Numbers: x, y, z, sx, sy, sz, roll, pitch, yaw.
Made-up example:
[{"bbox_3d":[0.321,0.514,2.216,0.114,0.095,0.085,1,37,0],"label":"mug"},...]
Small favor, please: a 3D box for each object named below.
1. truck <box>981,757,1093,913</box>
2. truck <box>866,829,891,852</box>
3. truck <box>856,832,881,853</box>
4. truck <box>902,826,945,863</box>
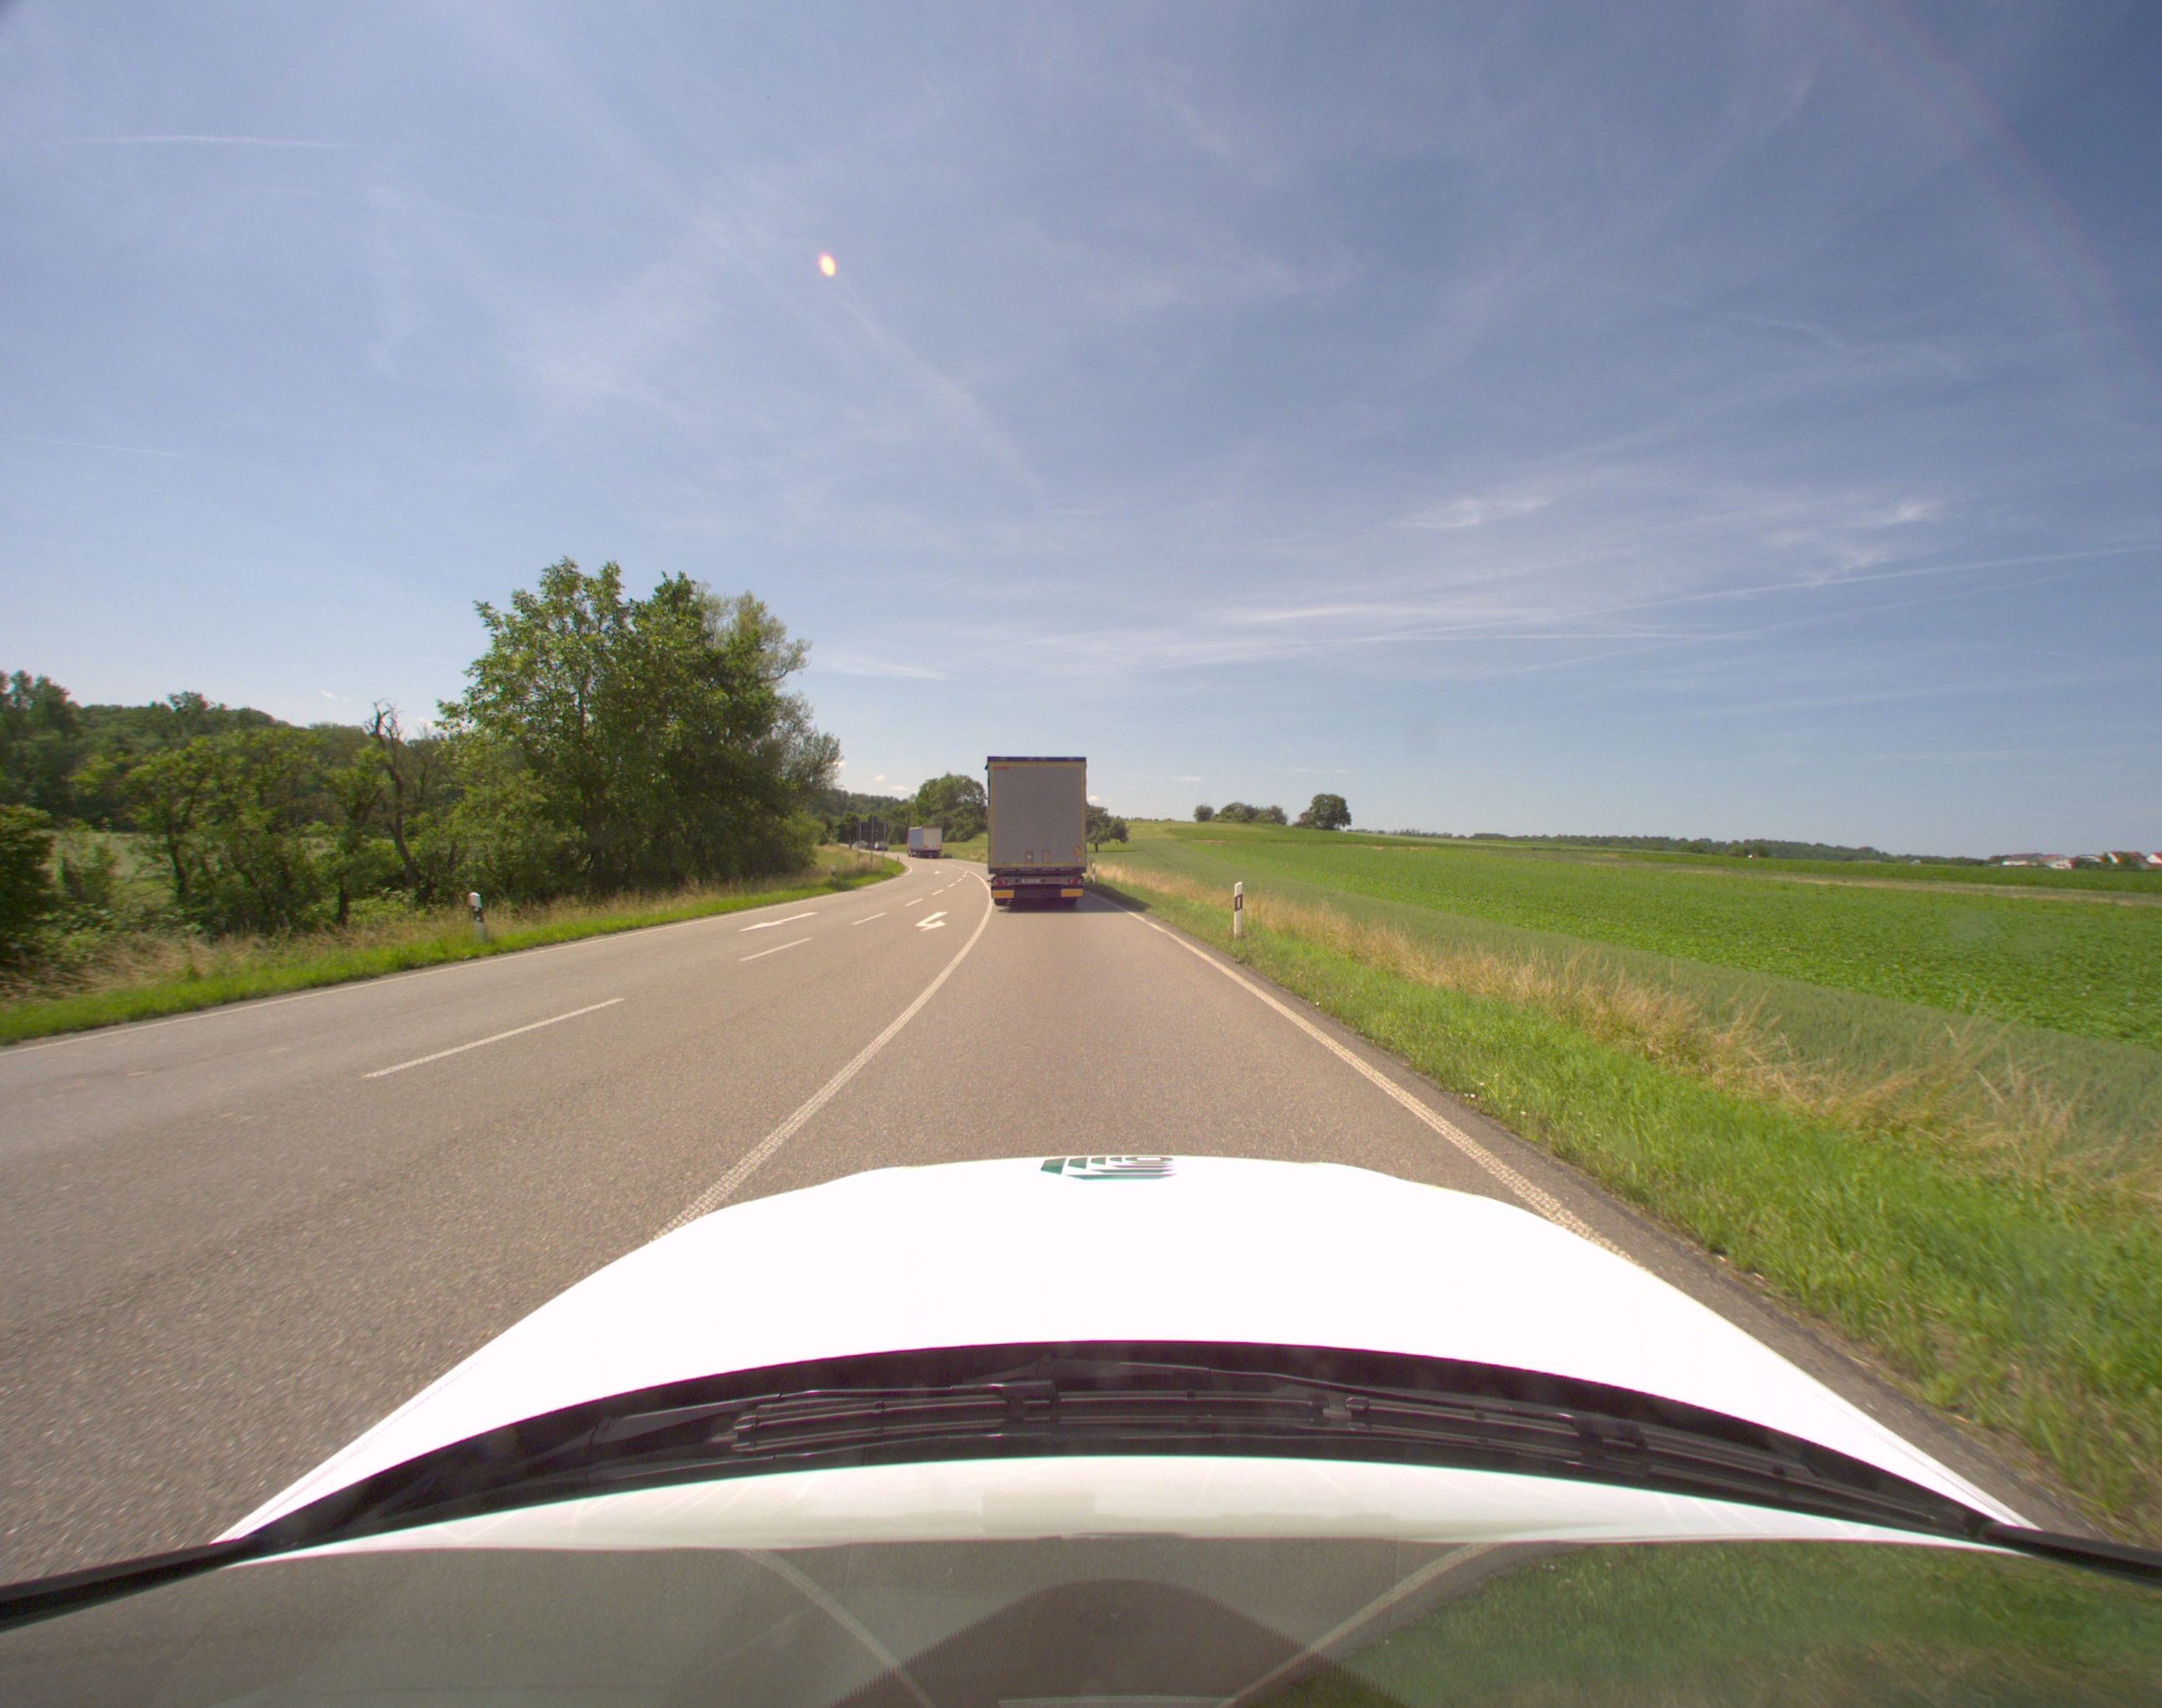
[{"bbox_3d":[-1.536,-0.527,25.550,2.804,3.946,9.573,-1,0,-5],"label":"truck"},{"bbox_3d":[-41.266,-2.669,165.862,3.648,4.130,13.012,2,-2,-19],"label":"truck"},{"bbox_3d":[-47.498,-2.398,181.757,3.543,4.241,13.305,3,-2,-22],"label":"truck"},{"bbox_3d":[-21.462,-1.246,110.148,2.971,4.584,16.204,2,0,-20],"label":"truck"}]
